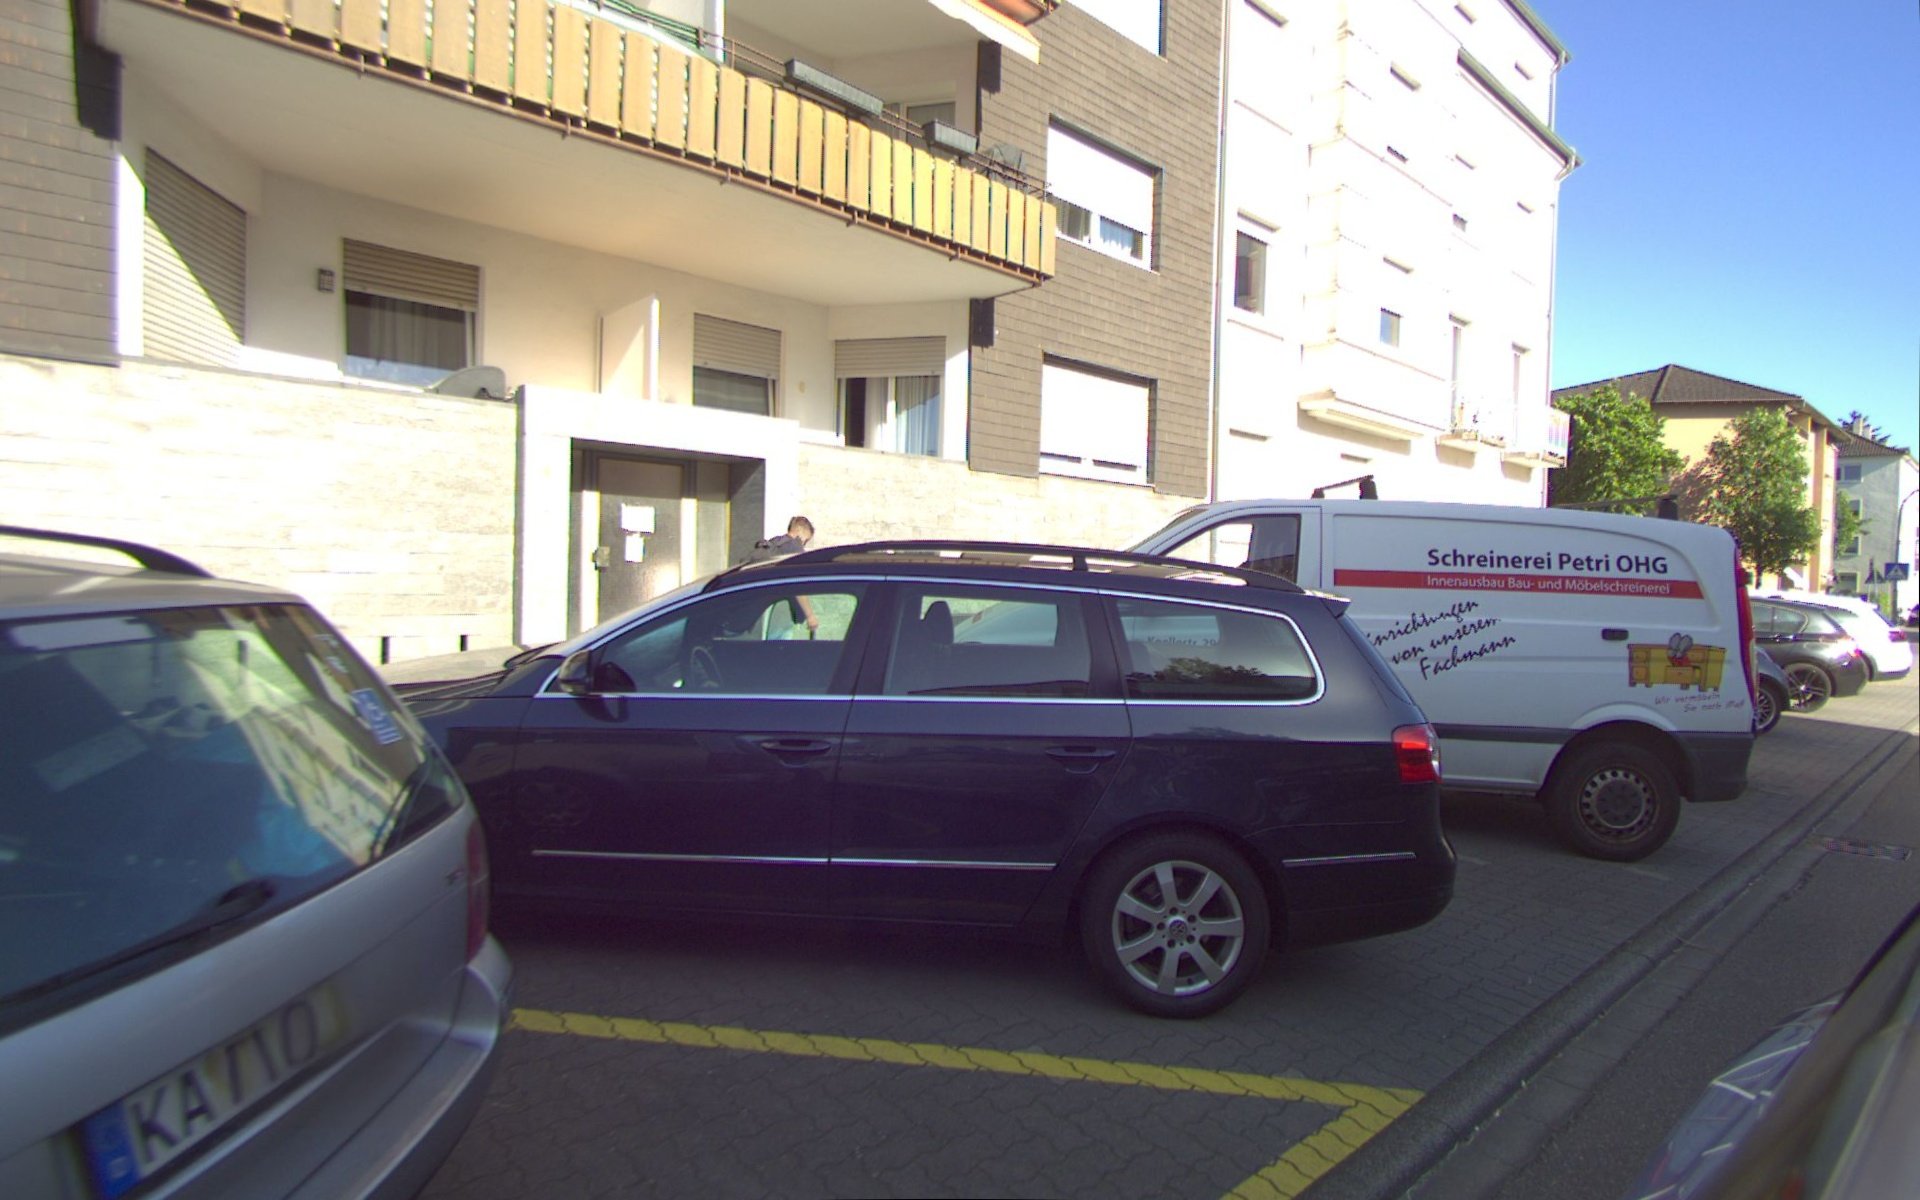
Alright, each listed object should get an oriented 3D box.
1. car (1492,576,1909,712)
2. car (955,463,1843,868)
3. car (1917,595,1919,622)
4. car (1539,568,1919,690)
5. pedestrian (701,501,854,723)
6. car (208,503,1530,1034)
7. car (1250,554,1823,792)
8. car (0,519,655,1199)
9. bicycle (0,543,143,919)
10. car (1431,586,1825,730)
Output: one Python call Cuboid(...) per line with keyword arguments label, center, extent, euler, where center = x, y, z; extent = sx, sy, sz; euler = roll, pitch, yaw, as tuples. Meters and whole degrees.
Cuboid(label="car", center=(9.756, 0.503, 13.746), extent=(4.111, 1.515, 1.815), euler=(2, 3, 15))
Cuboid(label="car", center=(2.339, 0.229, 6.490), extent=(4.454, 1.920, 2.047), euler=(3, 4, 8))
Cuboid(label="car", center=(55.293, 0.510, 56.913), extent=(1.902, 1.533, 3.941), euler=(4, 2, 41))
Cuboid(label="car", center=(12.318, 0.403, 16.216), extent=(4.803, 1.481, 1.965), euler=(4, 2, 14))
Cuboid(label="pedestrian", center=(-1.443, 0.067, 7.948), extent=(0.872, 1.613, 0.835), euler=(0, 2, -36))
Cuboid(label="car", center=(-0.357, 0.467, 4.127), extent=(4.249, 1.531, 1.756), euler=(2, 2, 4))
Cuboid(label="car", center=(4.624, 0.484, 8.812), extent=(3.944, 1.507, 1.609), euler=(4, 5, 17))
Cuboid(label="car", center=(-3.049, 0.567, 1.707), extent=(4.566, 1.483, 1.689), euler=(2, 3, 6))
Cuboid(label="bicycle", center=(-4.335, 0.395, 3.503), extent=(2.214, 1.269, 0.708), euler=(2, 0, -14))
Cuboid(label="car", center=(7.374, 0.584, 11.481), extent=(3.341, 1.405, 1.536), euler=(1, 1, 9))
